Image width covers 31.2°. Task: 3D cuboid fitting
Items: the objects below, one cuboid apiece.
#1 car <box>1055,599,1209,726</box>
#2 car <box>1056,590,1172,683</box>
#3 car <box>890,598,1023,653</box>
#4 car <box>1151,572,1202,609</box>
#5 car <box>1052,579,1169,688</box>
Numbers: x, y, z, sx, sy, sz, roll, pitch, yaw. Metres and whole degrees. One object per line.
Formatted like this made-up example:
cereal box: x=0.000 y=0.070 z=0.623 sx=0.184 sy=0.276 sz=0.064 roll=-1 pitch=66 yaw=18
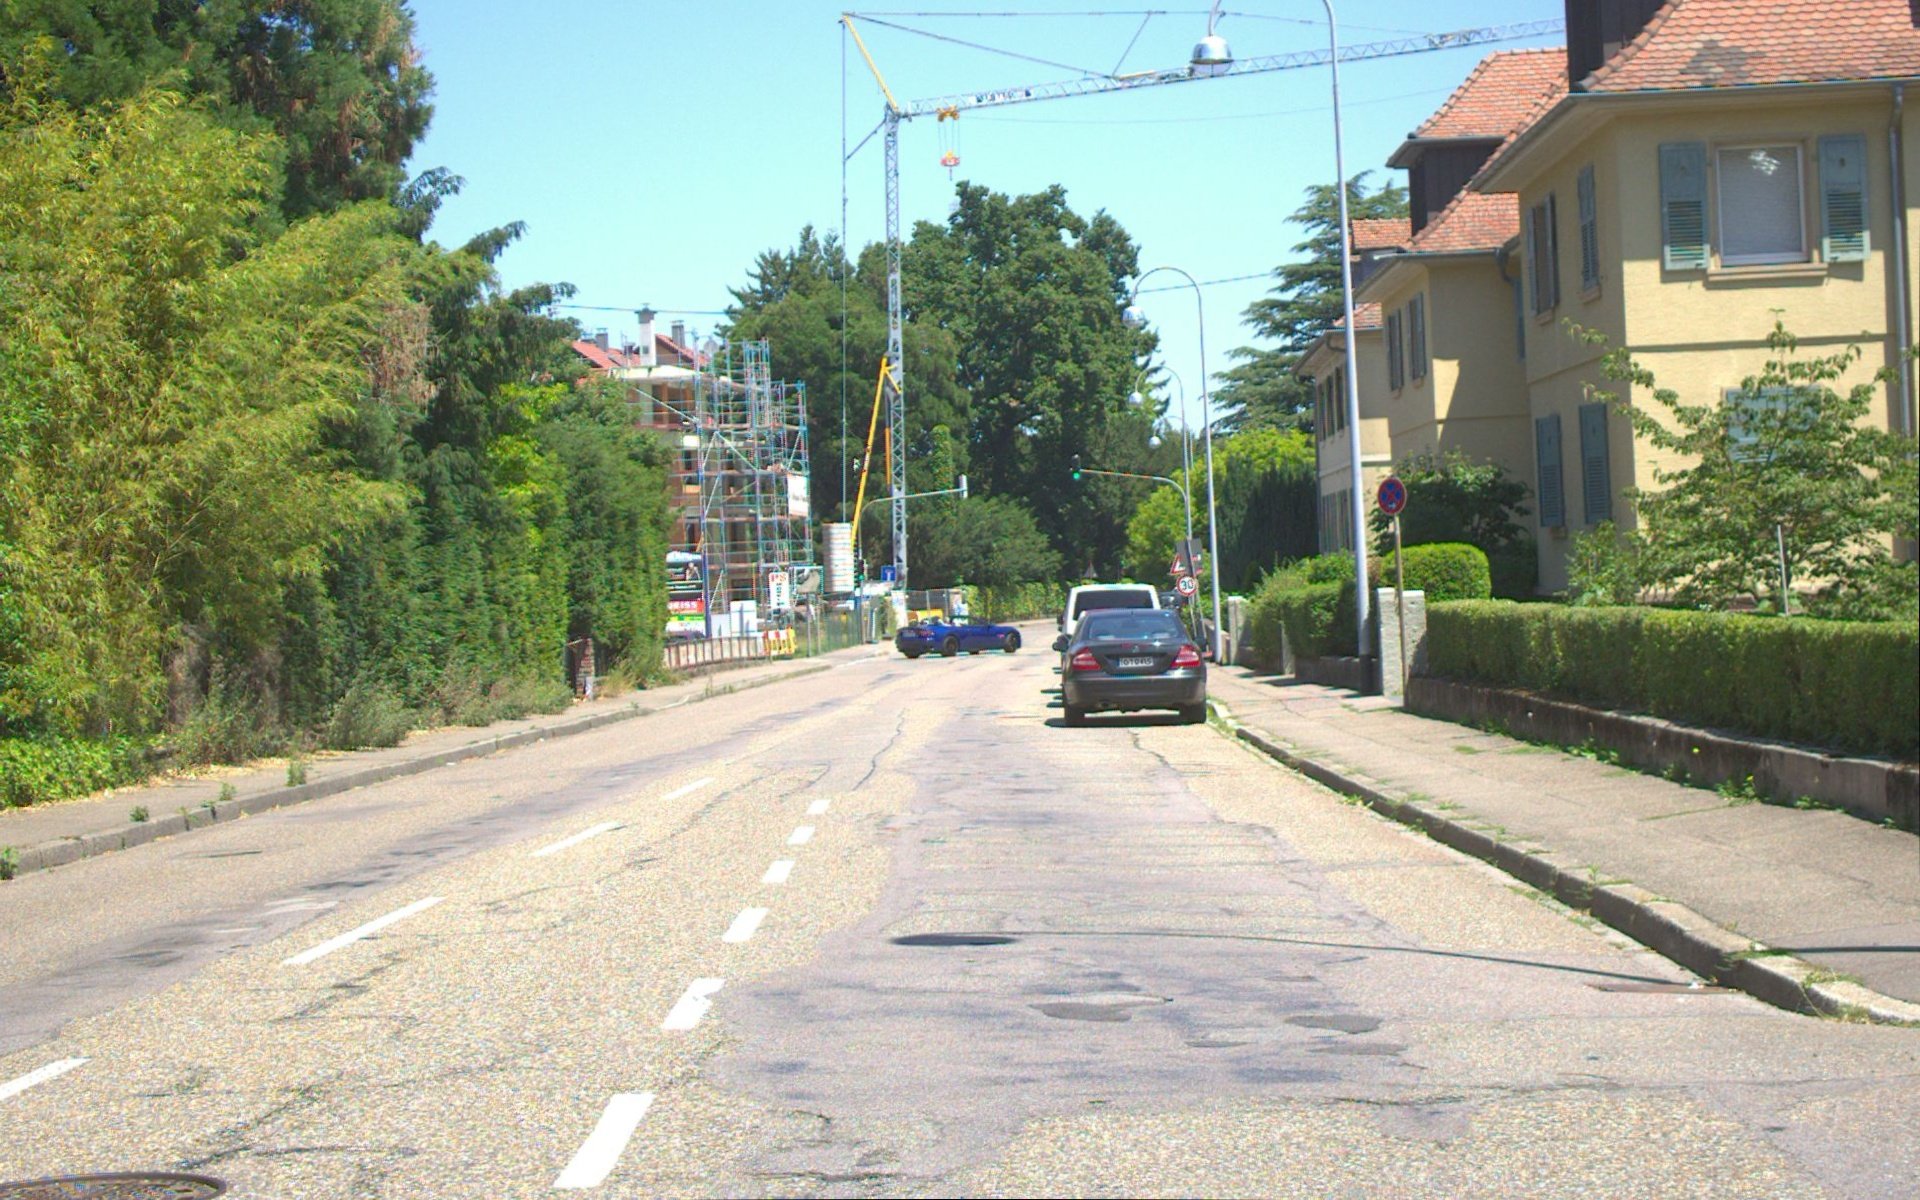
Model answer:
car: x=2.085 y=0.754 z=42.659 sx=1.693 sy=1.414 sz=4.550 roll=-2 pitch=0 yaw=1
car: x=2.562 y=0.594 z=57.777 sx=1.761 sy=1.446 sz=3.648 roll=-2 pitch=0 yaw=0
car: x=-0.098 y=0.815 z=110.889 sx=1.963 sy=1.463 sz=3.990 roll=-3 pitch=1 yaw=44
car: x=10.371 y=-0.448 z=164.353 sx=1.994 sy=1.656 sz=3.999 roll=-3 pitch=0 yaw=9
car: x=2.701 y=0.597 z=62.714 sx=1.993 sy=1.894 sz=4.822 roll=-1 pitch=0 yaw=1
